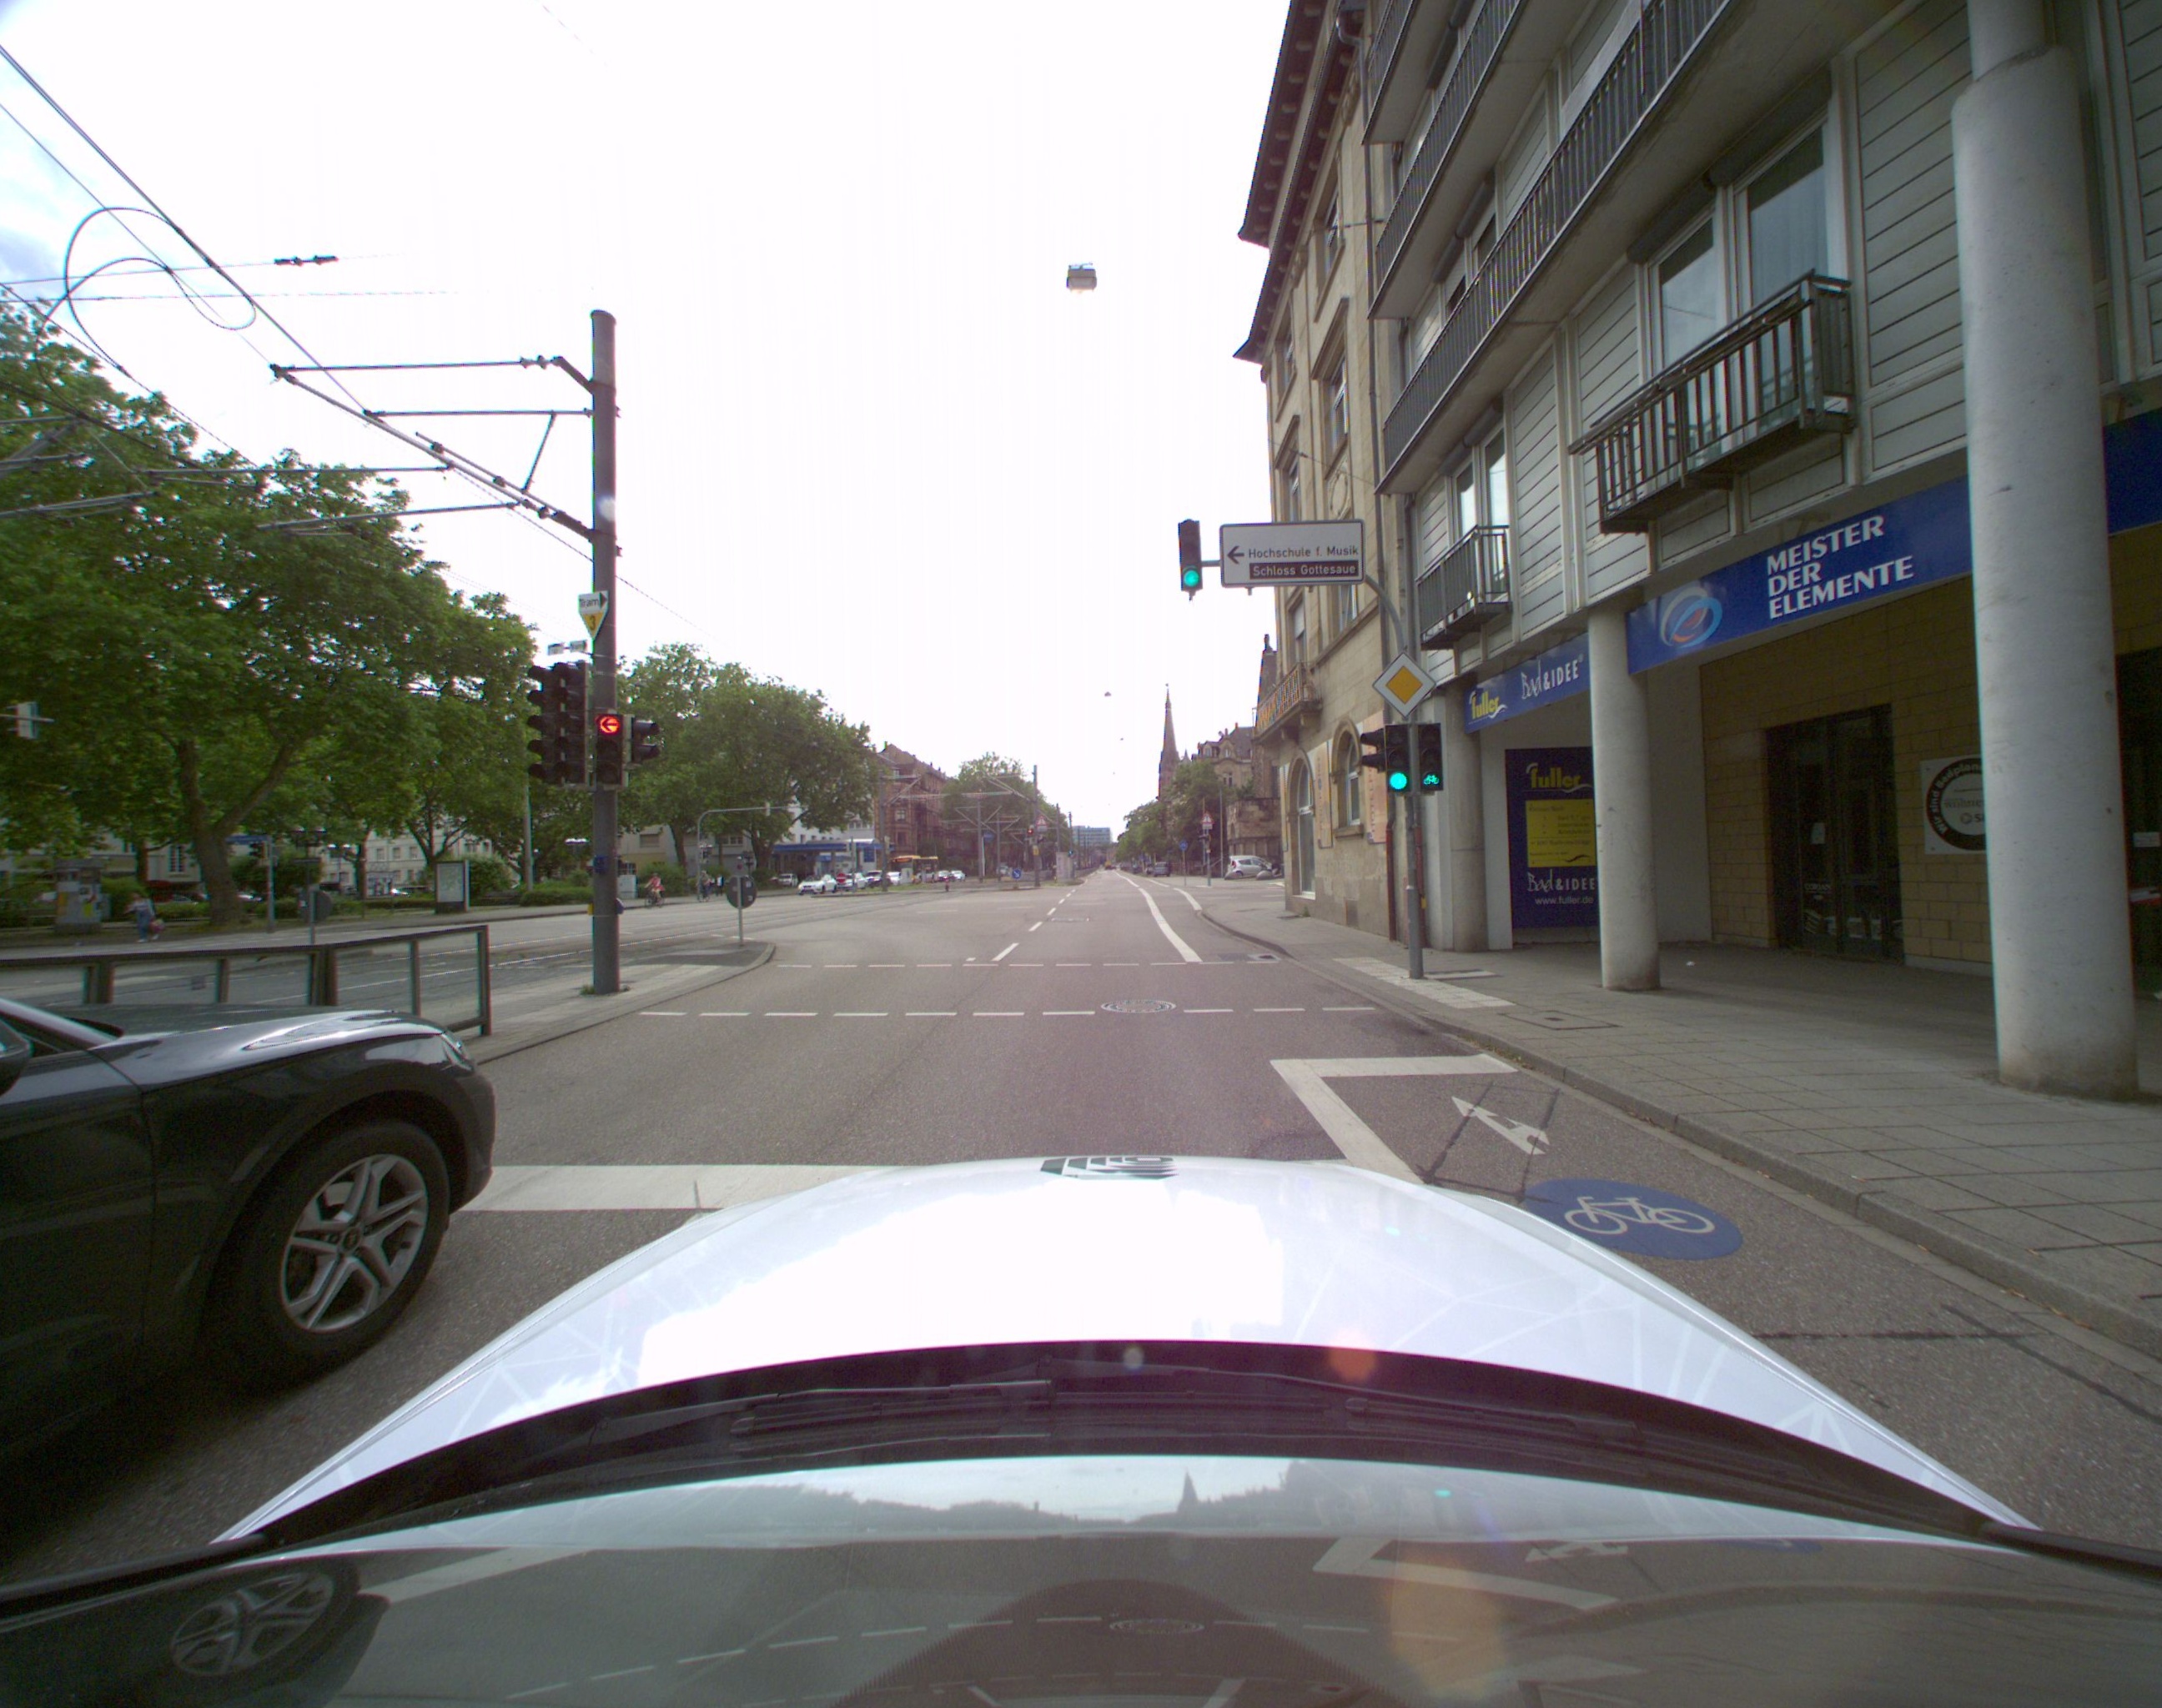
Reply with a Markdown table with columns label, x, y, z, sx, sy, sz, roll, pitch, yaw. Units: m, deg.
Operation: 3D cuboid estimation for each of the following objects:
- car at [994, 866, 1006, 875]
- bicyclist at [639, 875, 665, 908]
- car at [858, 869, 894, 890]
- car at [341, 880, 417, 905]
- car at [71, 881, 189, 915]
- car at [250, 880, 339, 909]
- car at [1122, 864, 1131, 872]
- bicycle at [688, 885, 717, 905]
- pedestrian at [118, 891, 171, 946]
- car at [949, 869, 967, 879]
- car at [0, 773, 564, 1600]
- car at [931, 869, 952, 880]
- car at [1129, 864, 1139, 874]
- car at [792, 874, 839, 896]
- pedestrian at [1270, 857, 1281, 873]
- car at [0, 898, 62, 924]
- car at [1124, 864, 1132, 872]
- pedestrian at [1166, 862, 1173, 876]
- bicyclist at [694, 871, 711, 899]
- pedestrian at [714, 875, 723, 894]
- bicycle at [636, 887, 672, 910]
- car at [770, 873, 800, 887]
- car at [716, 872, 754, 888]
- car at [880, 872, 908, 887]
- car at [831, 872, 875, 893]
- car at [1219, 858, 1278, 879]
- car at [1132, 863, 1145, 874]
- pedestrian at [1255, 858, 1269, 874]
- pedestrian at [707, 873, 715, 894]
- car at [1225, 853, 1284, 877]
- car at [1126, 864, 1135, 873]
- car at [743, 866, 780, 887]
| label | x | y | z | sx | sy | sz | roll | pitch | yaw |
| --- | --- | --- | --- | --- | --- | --- | --- | --- | --- |
| car | -14.872 | 3.018 | 149.768 | 1.696 | 1.712 | 3.892 | 0 | -1 | 2 |
| bicyclist | -22.068 | 1.901 | 41.876 | 0.703 | 1.637 | 0.994 | -3 | -1 | 1 |
| car | -18.402 | 2.260 | 73.320 | 1.695 | 1.783 | 5.152 | 0 | -1 | 2 |
| car | -64.883 | 3.544 | 75.321 | 4.825 | 2.101 | 2.072 | -2 | -1 | -16 |
| car | -64.721 | 2.959 | 55.525 | 4.825 | 2.101 | 2.072 | -2 | -1 | -16 |
| car | -64.638 | 3.300 | 67.021 | 4.825 | 2.101 | 2.072 | -2 | -1 | -16 |
| car | 12.171 | 3.824 | 217.993 | 1.987 | 2.014 | 4.000 | 0 | -1 | 1 |
| bicycle | -22.404 | 2.429 | 48.242 | 0.724 | 1.064 | 1.993 | -3 | -1 | 2 |
| pedestrian | -30.241 | 2.070 | 26.295 | 0.802 | 1.690 | 0.755 | -2 | -1 | -3 |
| car | -16.645 | 2.700 | 109.999 | 1.696 | 1.221 | 3.892 | 0 | -1 | 2 |
| car | -3.127 | 0.662 | 1.138 | 1.904 | 1.647 | 4.369 | 0 | -1 | 2 |
| car | -17.527 | 2.566 | 102.426 | 1.696 | 1.358 | 3.892 | 0 | -1 | 2 |
| car | 11.142 | 3.131 | 172.127 | 1.986 | 1.882 | 4.001 | -2 | -1 | 2 |
| car | -19.304 | 2.230 | 59.428 | 1.835 | 1.448 | 4.415 | 0 | -1 | 2 |
| pedestrian | 14.679 | 0.827 | 61.393 | 0.731 | 1.228 | 1.067 | -1 | -1 | 16 |
| car | -66.227 | 3.539 | 49.628 | 4.825 | 1.389 | 2.072 | -2 | -1 | -16 |
| car | 12.109 | 3.672 | 210.322 | 1.987 | 1.926 | 4.000 | 0 | -1 | 1 |
| pedestrian | 10.692 | 1.850 | 98.595 | 0.772 | 1.647 | 0.800 | 0 | -1 | 8 |
| bicyclist | -22.465 | 1.830 | 48.341 | 0.581 | 1.562 | 0.757 | -4 | -1 | 2 |
| pedestrian | -25.553 | 2.134 | 57.429 | 0.454 | 1.326 | 0.469 | -1 | -1 | -5 |
| bicycle | -22.001 | 2.273 | 42.018 | 0.724 | 1.064 | 1.993 | -3 | -1 | 1 |
| car | -29.672 | 2.577 | 81.763 | 1.696 | 1.358 | 3.406 | 0 | -1 | 2 |
| car | -34.878 | 2.569 | 82.214 | 1.986 | 1.466 | 4.001 | -2 | -1 | 2 |
| car | -18.246 | 2.447 | 79.619 | 1.696 | 1.398 | 3.892 | 0 | -1 | 2 |
| car | -18.574 | 2.296 | 66.663 | 1.834 | 1.526 | 5.704 | 0 | -1 | 2 |
| car | 13.222 | 1.122 | 64.458 | 4.332 | 1.636 | 1.663 | 0 | -1 | 1 |
| car | 9.540 | 2.408 | 135.919 | 1.986 | 1.820 | 4.001 | -2 | -1 | 2 |
| pedestrian | 13.485 | 0.904 | 60.579 | 0.734 | 1.192 | 1.494 | 0 | -1 | 2 |
| pedestrian | -26.024 | 2.068 | 57.281 | 0.360 | 1.479 | 0.373 | -1 | -1 | -5 |
| car | 14.446 | 0.916 | 67.904 | 4.593 | 1.881 | 1.663 | 0 | -1 | 1 |
| car | 11.642 | 3.451 | 190.586 | 1.987 | 2.014 | 4.000 | 0 | -1 | 1 |
| car | -32.096 | 2.268 | 81.984 | 1.986 | 2.014 | 4.001 | -2 | -1 | 2 |
